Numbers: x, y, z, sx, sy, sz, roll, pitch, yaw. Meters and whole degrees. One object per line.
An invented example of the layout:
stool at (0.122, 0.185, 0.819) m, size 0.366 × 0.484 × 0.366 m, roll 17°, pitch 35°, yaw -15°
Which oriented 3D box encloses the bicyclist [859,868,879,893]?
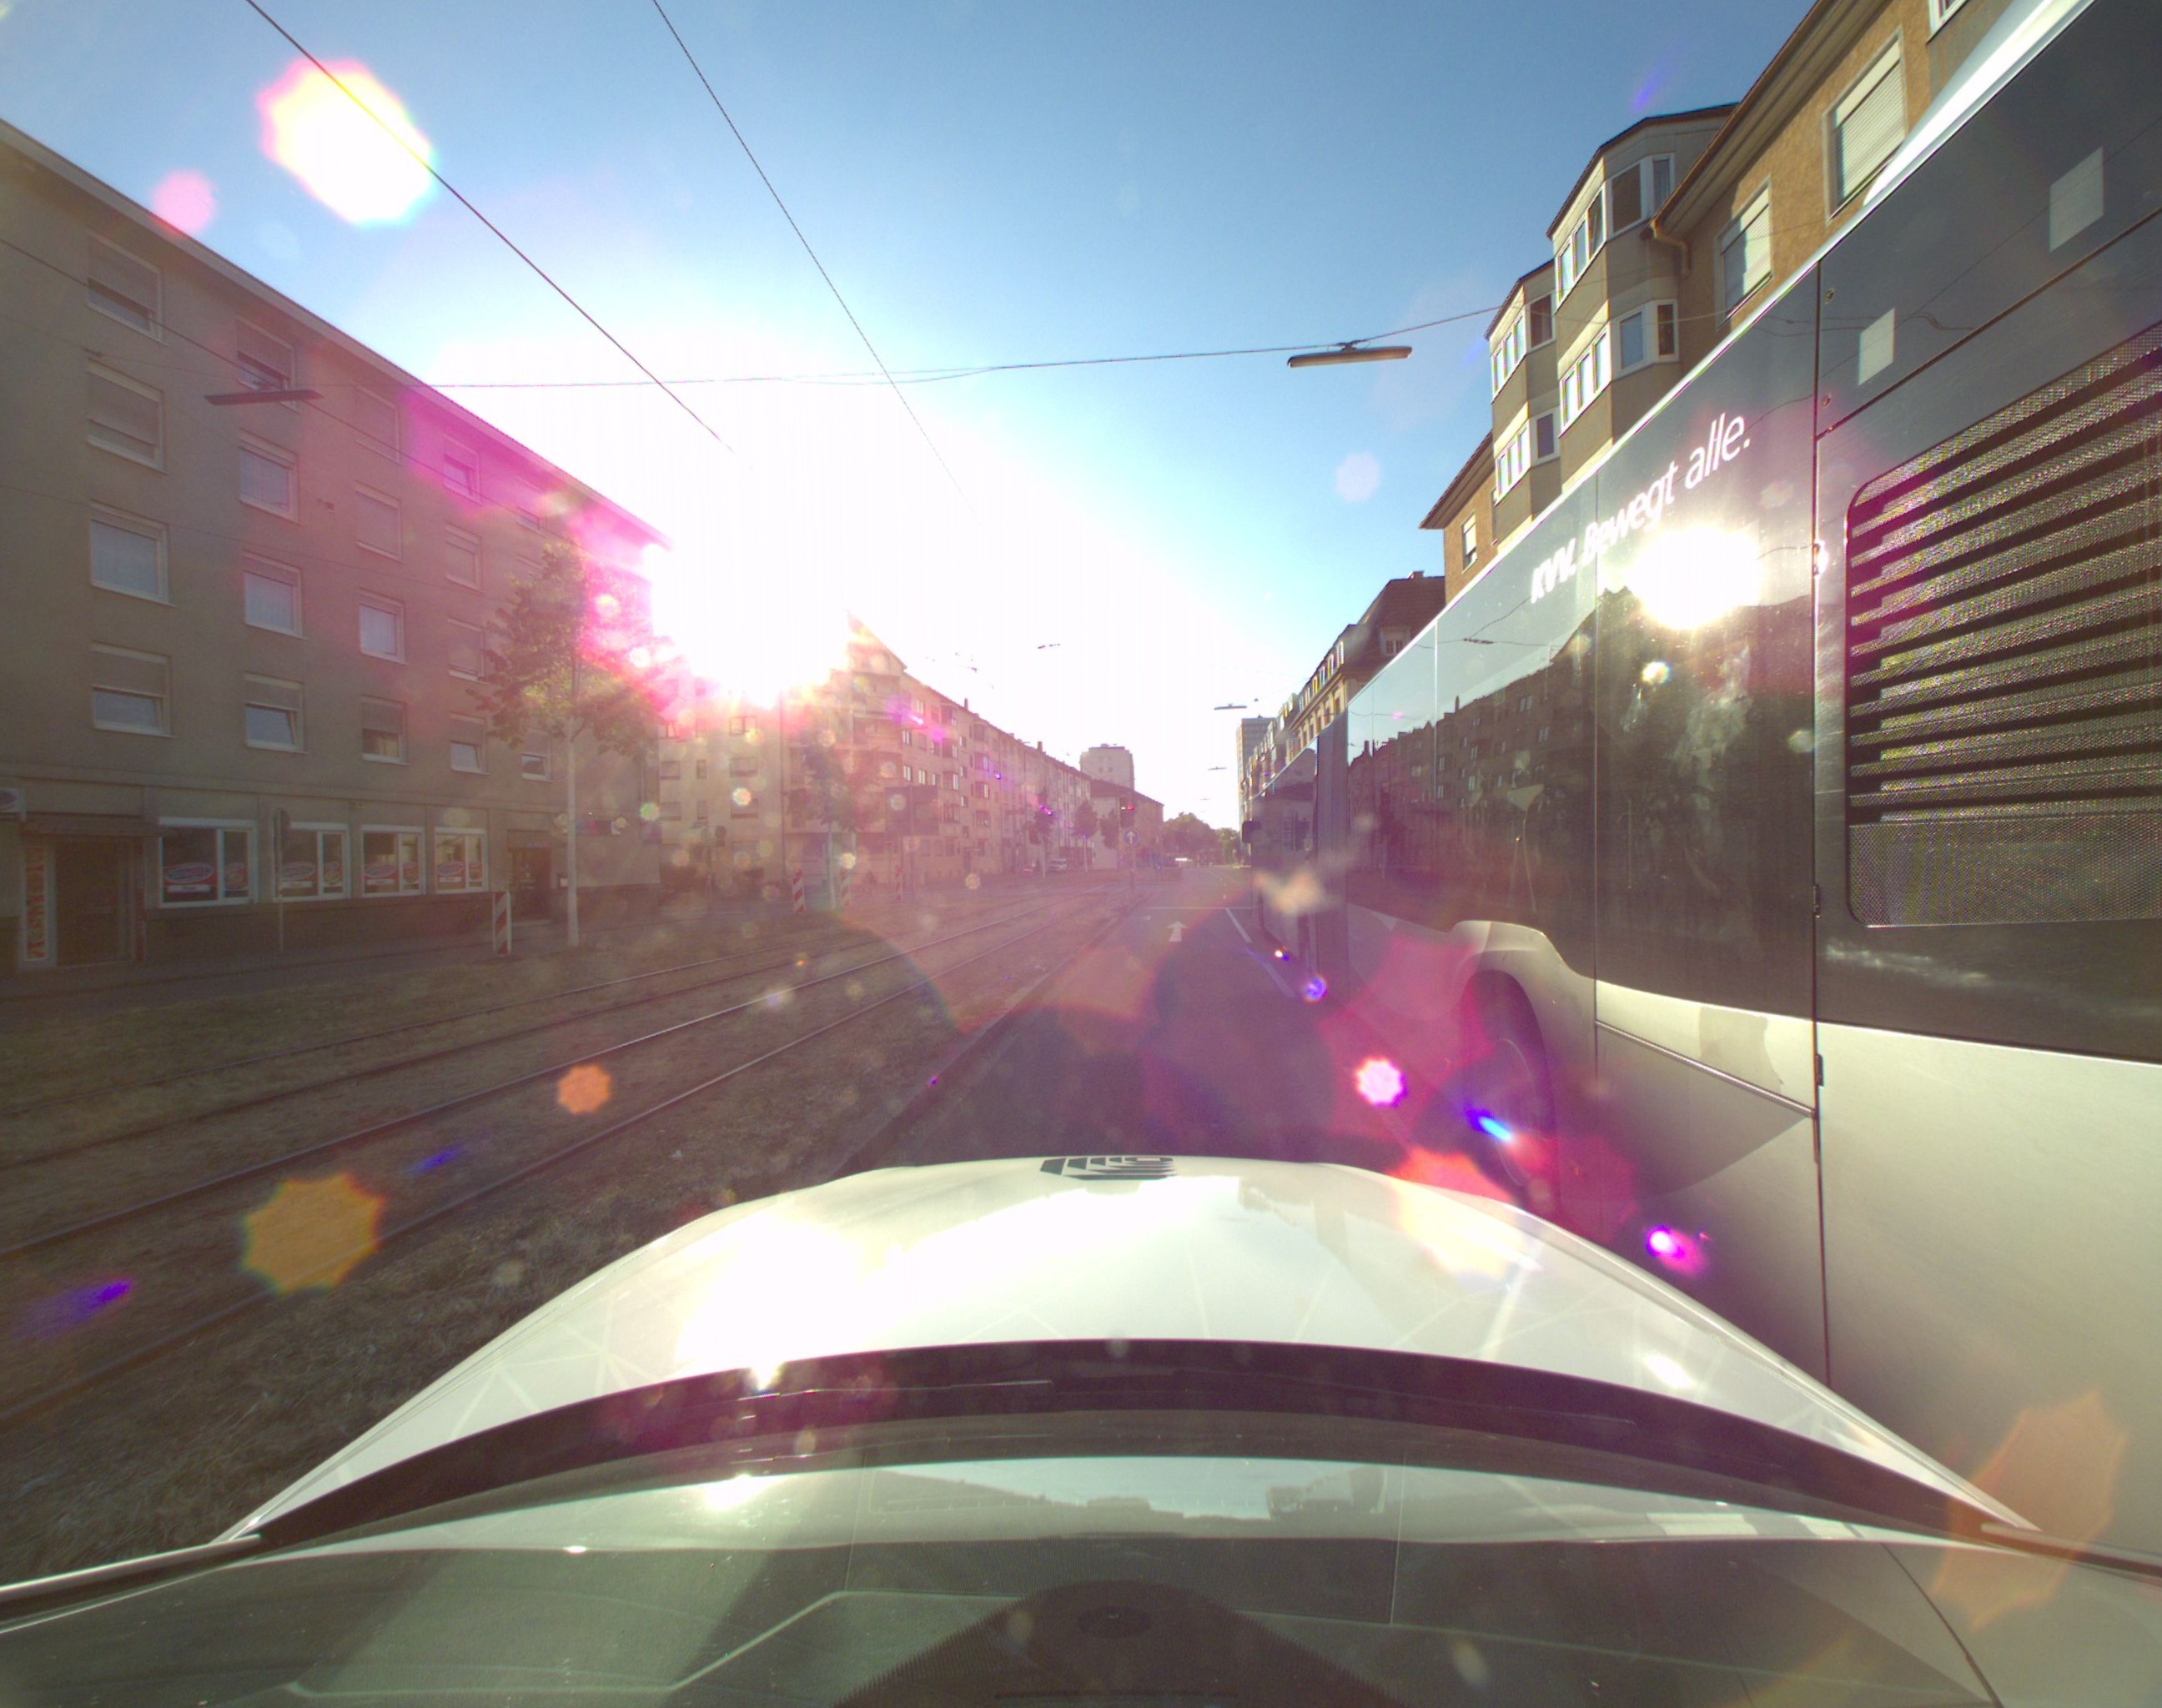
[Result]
bicyclist at (-12.675, 1.610, 48.700) m, size 0.522 × 1.447 × 0.971 m, roll -3°, pitch -1°, yaw 38°

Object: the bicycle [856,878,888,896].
bicycle at (-12.530, 1.997, 48.855) m, size 0.522 × 0.984 × 1.895 m, roll -3°, pitch -1°, yaw 38°

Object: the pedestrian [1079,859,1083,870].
pedestrian at (0.045, 1.650, 124.157) m, size 0.493 × 1.658 × 0.409 m, roll -2°, pitch -1°, yaw 8°

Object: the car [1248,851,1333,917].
car at (5.612, 0.752, 22.250) m, size 1.760 × 1.575 × 4.094 m, roll -2°, pitch -1°, yaw 8°

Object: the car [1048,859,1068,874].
car at (-2.956, 1.589, 104.560) m, size 1.801 × 1.798 × 4.255 m, roll 0°, pitch -1°, yaw 9°

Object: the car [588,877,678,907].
car at (-24.952, 2.113, 45.496) m, size 3.948 × 1.440 × 1.789 m, roll -2°, pitch -1°, yaw -3°

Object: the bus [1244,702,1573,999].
bus at (4.300, -0.005, 13.062) m, size 2.723 × 3.056 × 9.150 m, roll 0°, pitch 0°, yaw 8°

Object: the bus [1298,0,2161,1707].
bus at (3.091, -0.050, 4.178) m, size 2.723 × 3.056 × 8.872 m, roll 0°, pitch 0°, yaw 8°

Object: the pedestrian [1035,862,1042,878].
pedestrian at (-5.370, 2.016, 102.921) m, size 0.783 × 2.014 × 0.892 m, roll -2°, pitch -1°, yaw 4°

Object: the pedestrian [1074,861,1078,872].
pedestrian at (-0.763, 1.886, 124.055) m, size 0.493 × 1.658 × 0.409 m, roll -2°, pitch -1°, yaw 8°

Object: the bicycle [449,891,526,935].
bicycle at (-17.219, 1.695, 23.670) m, size 0.742 × 1.115 × 1.782 m, roll -2°, pitch -1°, yaw 8°
